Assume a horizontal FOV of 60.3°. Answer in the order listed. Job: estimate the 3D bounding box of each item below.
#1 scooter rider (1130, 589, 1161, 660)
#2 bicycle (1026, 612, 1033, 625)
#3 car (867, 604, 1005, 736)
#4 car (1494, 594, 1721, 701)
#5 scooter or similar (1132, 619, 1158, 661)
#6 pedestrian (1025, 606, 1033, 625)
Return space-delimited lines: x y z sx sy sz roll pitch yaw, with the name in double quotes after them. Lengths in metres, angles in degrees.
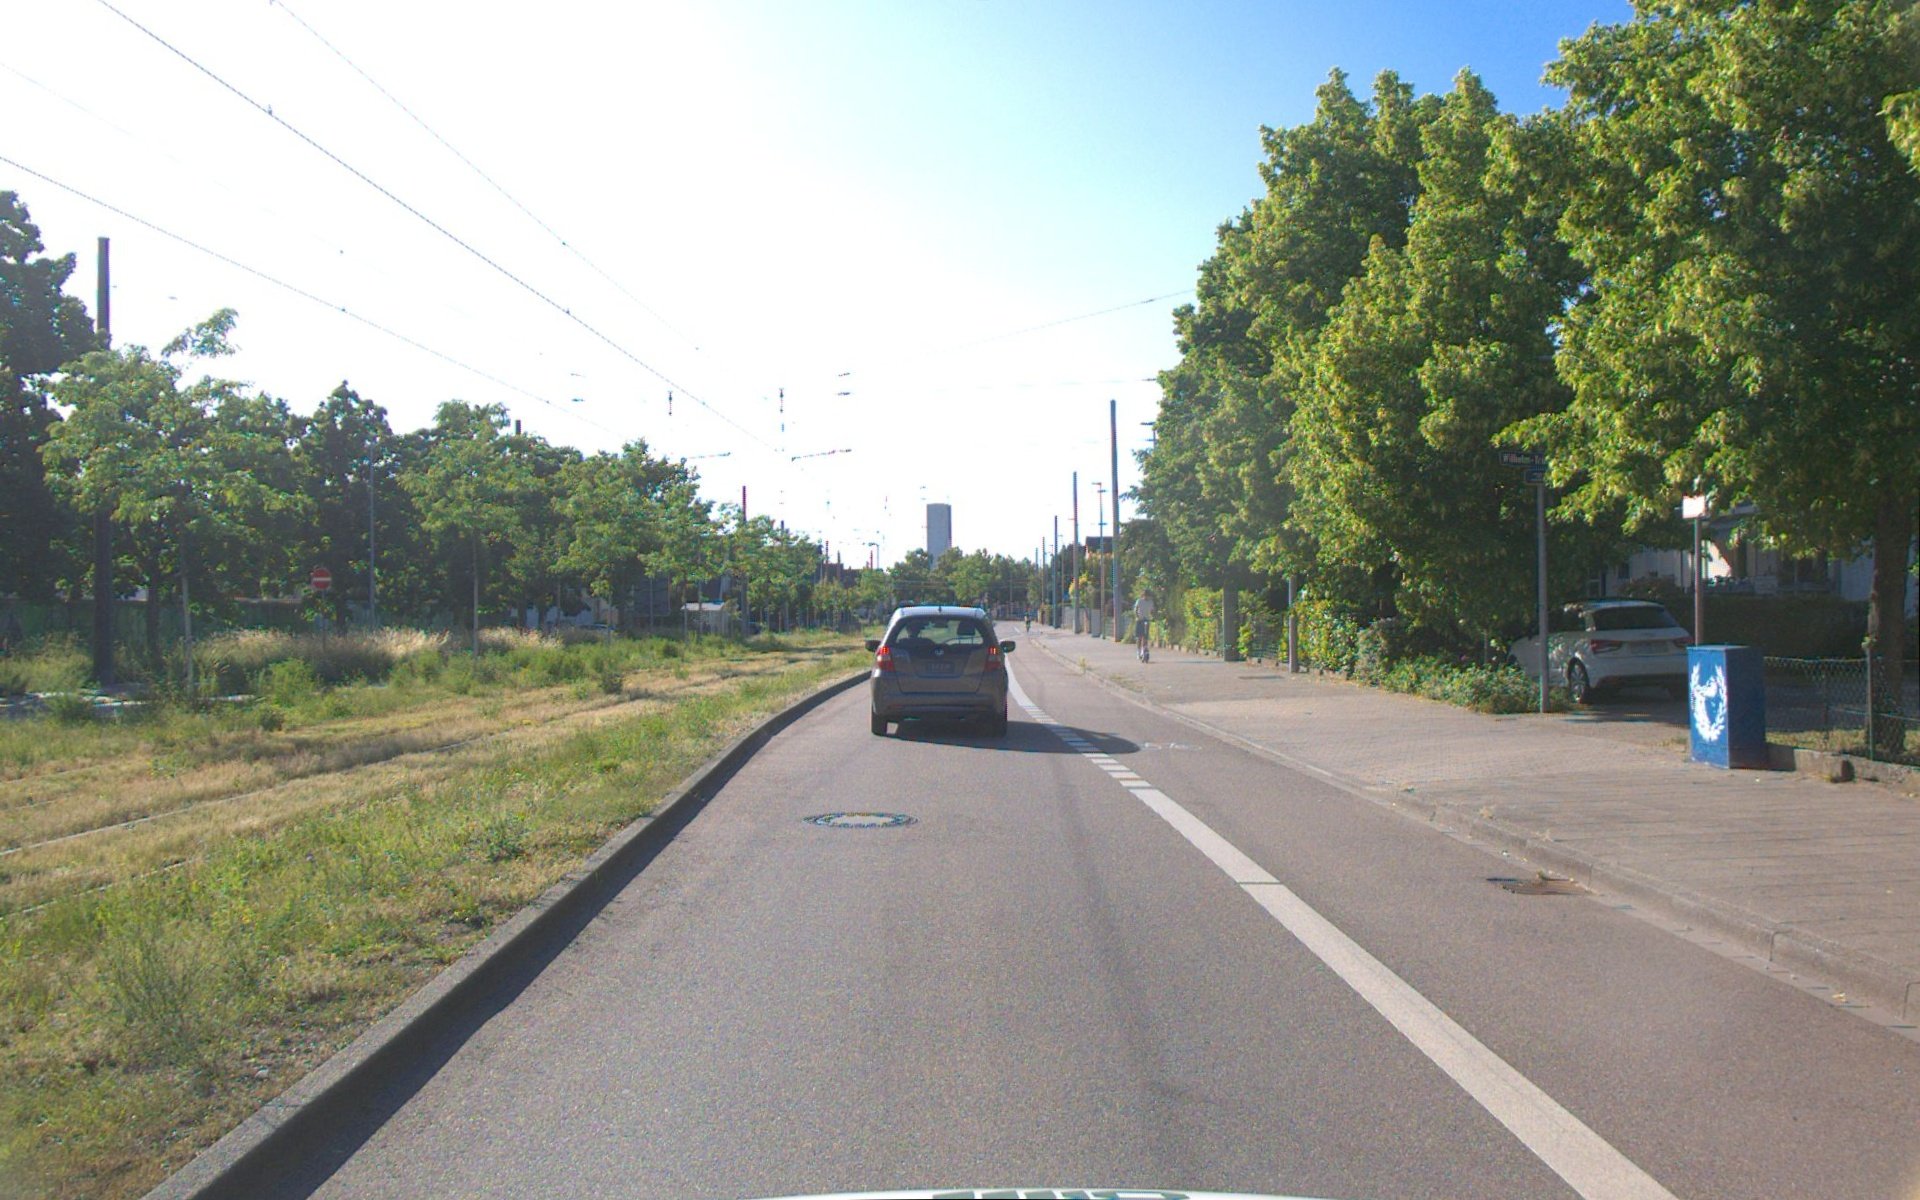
5.091 0.673 45.467 0.701 1.934 0.934 -1 -1 -1 "scooter rider"
6.537 1.739 155.418 0.502 1.263 3.089 -1 0 0 "bicycle"
-0.319 0.819 20.882 1.591 1.526 3.455 0 0 -2 "car"
9.569 0.665 24.778 1.738 1.411 3.868 -2 0 -2 "car"
5.103 1.093 45.660 0.528 1.138 1.417 -1 -1 -1 "scooter or similar"
6.502 1.451 155.580 0.707 1.832 1.164 -1 0 0 "pedestrian"
